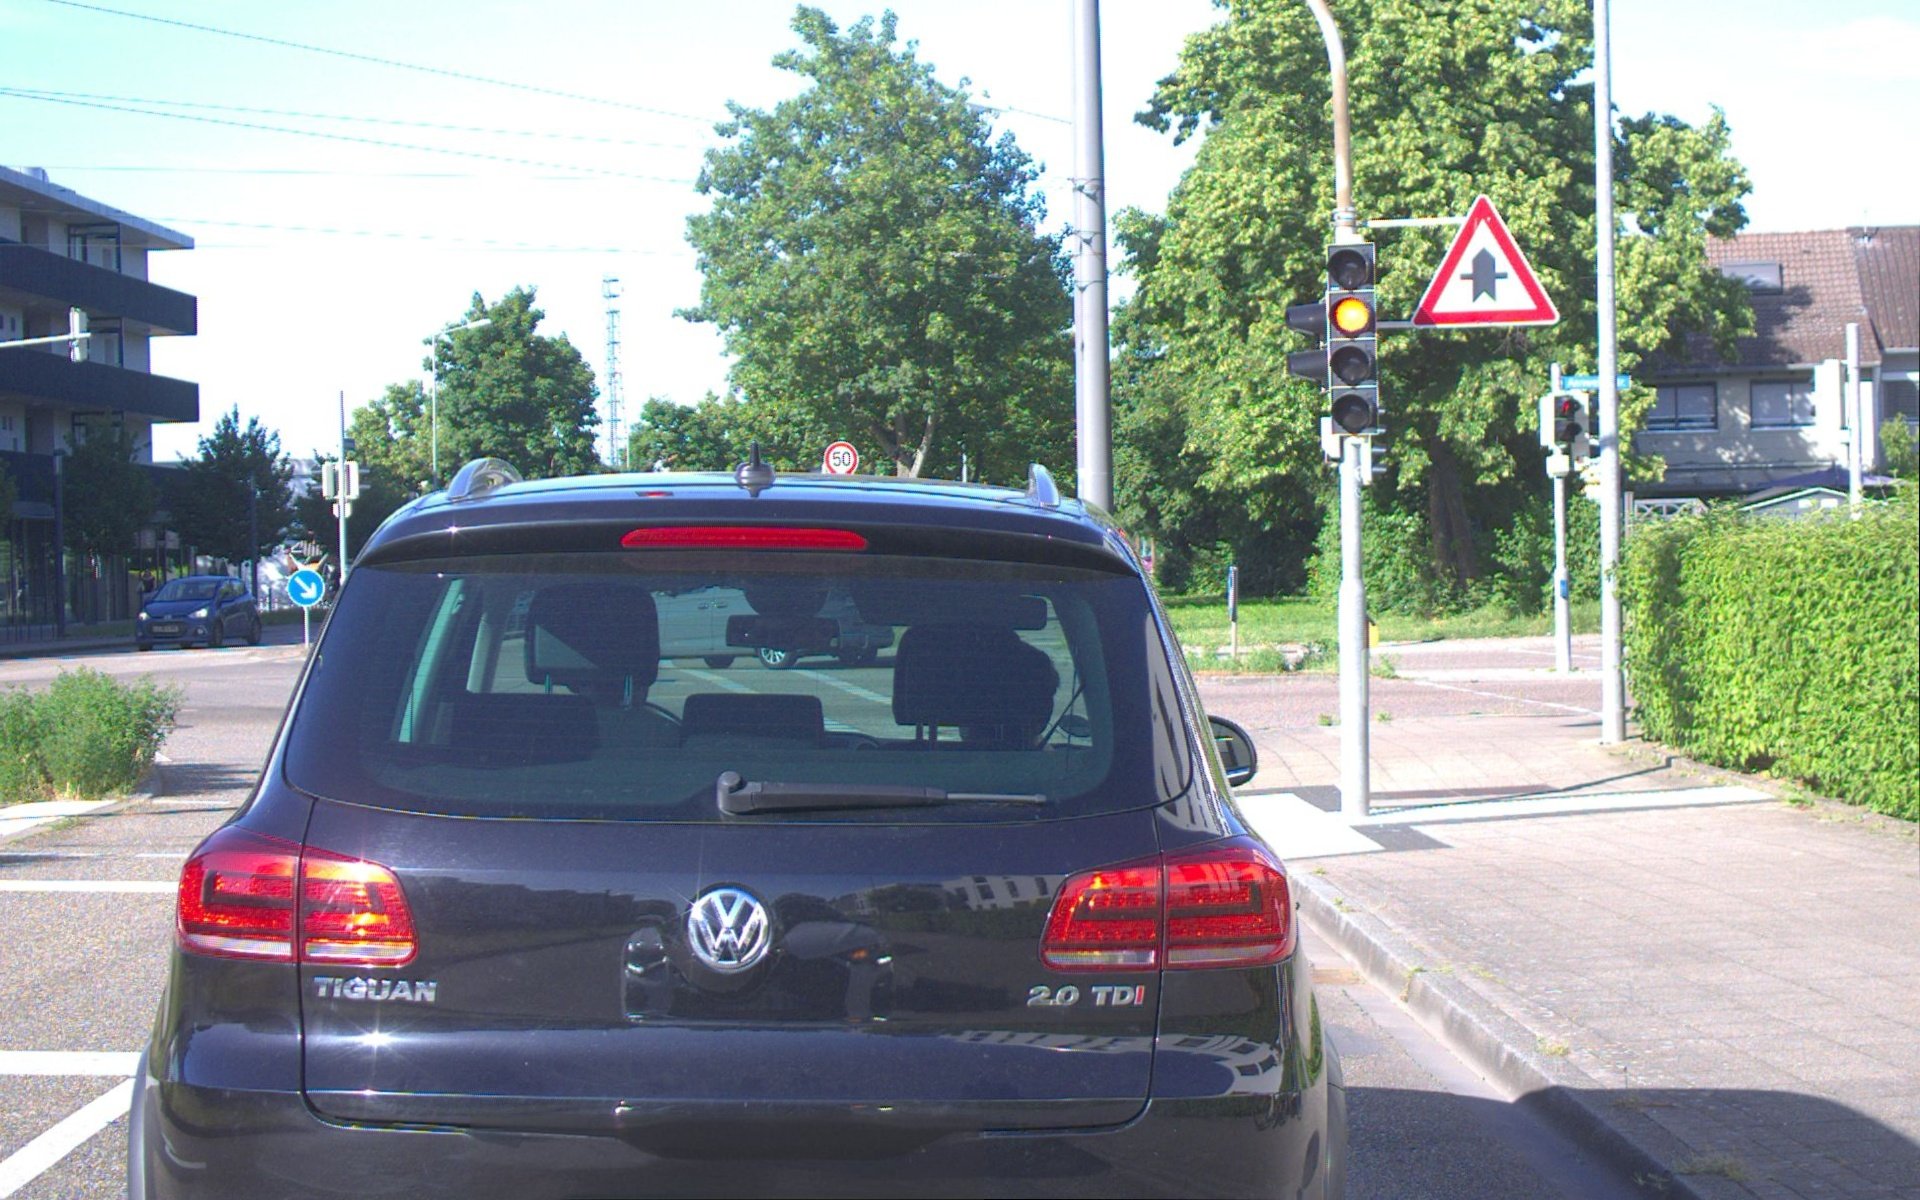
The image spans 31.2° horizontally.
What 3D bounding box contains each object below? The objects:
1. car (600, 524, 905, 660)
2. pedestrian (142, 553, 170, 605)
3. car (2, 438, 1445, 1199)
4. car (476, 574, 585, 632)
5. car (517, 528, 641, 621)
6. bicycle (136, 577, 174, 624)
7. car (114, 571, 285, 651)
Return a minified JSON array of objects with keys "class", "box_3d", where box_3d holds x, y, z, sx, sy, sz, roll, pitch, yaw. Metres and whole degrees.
[{"class":"car","box_3d":[-2.942,-0.135,48.457,3.996,1.830,1.995,1,1,40]},{"class":"pedestrian","box_3d":[-23.214,-0.610,99.245,0.642,1.504,0.596,1,0,0]},{"class":"car","box_3d":[-0.335,0.597,6.490,1.869,1.632,4.000,1,1,-1]},{"class":"car","box_3d":[-11.995,0.065,96.270,1.994,1.569,4.338,1,1,7]},{"class":"car","box_3d":[-7.195,-0.492,65.245,1.993,1.678,4.000,1,1,-1]},{"class":"bicycle","box_3d":[-23.222,0.014,99.199,0.630,1.327,1.913,1,1,0]},{"class":"car","box_3d":[-15.769,0.205,71.477,1.994,1.569,4.337,1,1,9]}]
